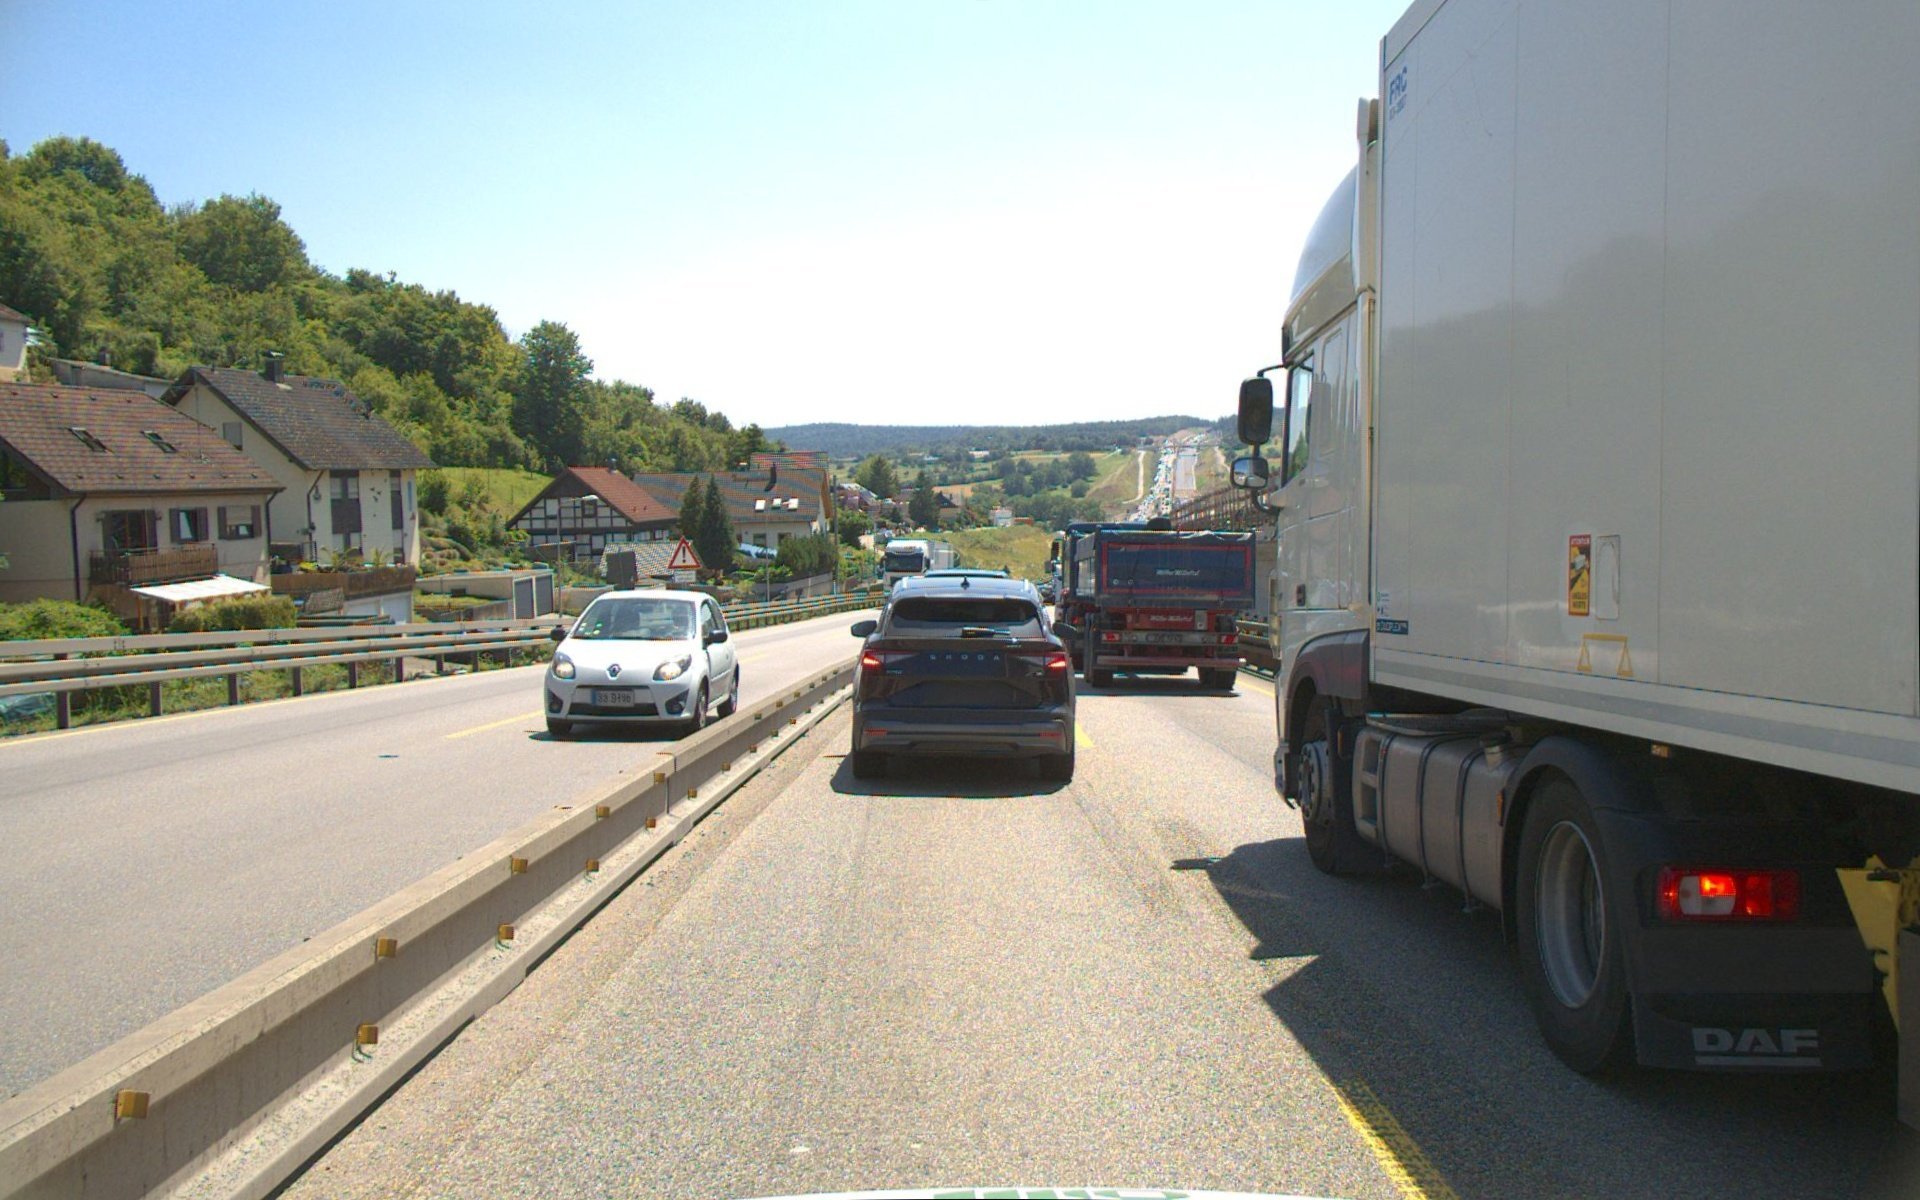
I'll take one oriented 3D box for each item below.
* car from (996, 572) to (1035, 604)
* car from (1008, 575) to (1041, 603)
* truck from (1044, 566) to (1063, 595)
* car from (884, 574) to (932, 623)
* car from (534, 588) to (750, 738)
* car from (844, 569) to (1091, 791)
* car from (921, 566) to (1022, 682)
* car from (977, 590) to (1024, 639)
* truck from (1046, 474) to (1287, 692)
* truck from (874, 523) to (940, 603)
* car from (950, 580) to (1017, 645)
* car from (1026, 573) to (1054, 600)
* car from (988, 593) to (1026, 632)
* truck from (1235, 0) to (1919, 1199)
[{"bbox_3d":[2.950,-0.614,87.431,1.952,1.613,3.838,1,0,3],"label":"car"},{"bbox_3d":[3.950,-0.680,100.759,1.952,1.613,3.838,1,0,3],"label":"car"},{"bbox_3d":[14.468,-2.984,255.464,2.694,4.358,4.960,1,1,5],"label":"truck"},{"bbox_3d":[-2.220,-0.063,71.648,1.953,2.046,4.857,0,0,0],"label":"car"},{"bbox_3d":[-3.393,0.608,18.264,1.711,1.451,3.709,0,1,-1],"label":"car"},{"bbox_3d":[0.013,0.604,14.293,1.805,1.614,3.906,1,0,-1],"label":"car"},{"bbox_3d":[0.144,0.362,30.090,1.672,1.914,3.999,1,1,-1],"label":"car"},{"bbox_3d":[1.533,0.506,61.843,1.671,1.650,4.002,1,1,2],"label":"car"},{"bbox_3d":[3.467,-0.231,31.529,3.129,3.247,12.809,1,0,1],"label":"truck"},{"bbox_3d":[-3.067,-2.088,98.513,3.234,4.438,8.303,1,0,3],"label":"truck"},{"bbox_3d":[0.623,0.321,46.334,1.672,1.650,3.999,1,1,-1],"label":"car"},{"bbox_3d":[5.623,-0.940,116.565,1.665,1.758,3.839,1,0,7],"label":"car"},{"bbox_3d":[2.190,0.561,76.858,1.671,1.650,4.002,1,1,2],"label":"car"},{"bbox_3d":[3.179,-0.631,6.660,2.462,4.095,8.234,1,0,-2],"label":"truck"}]
